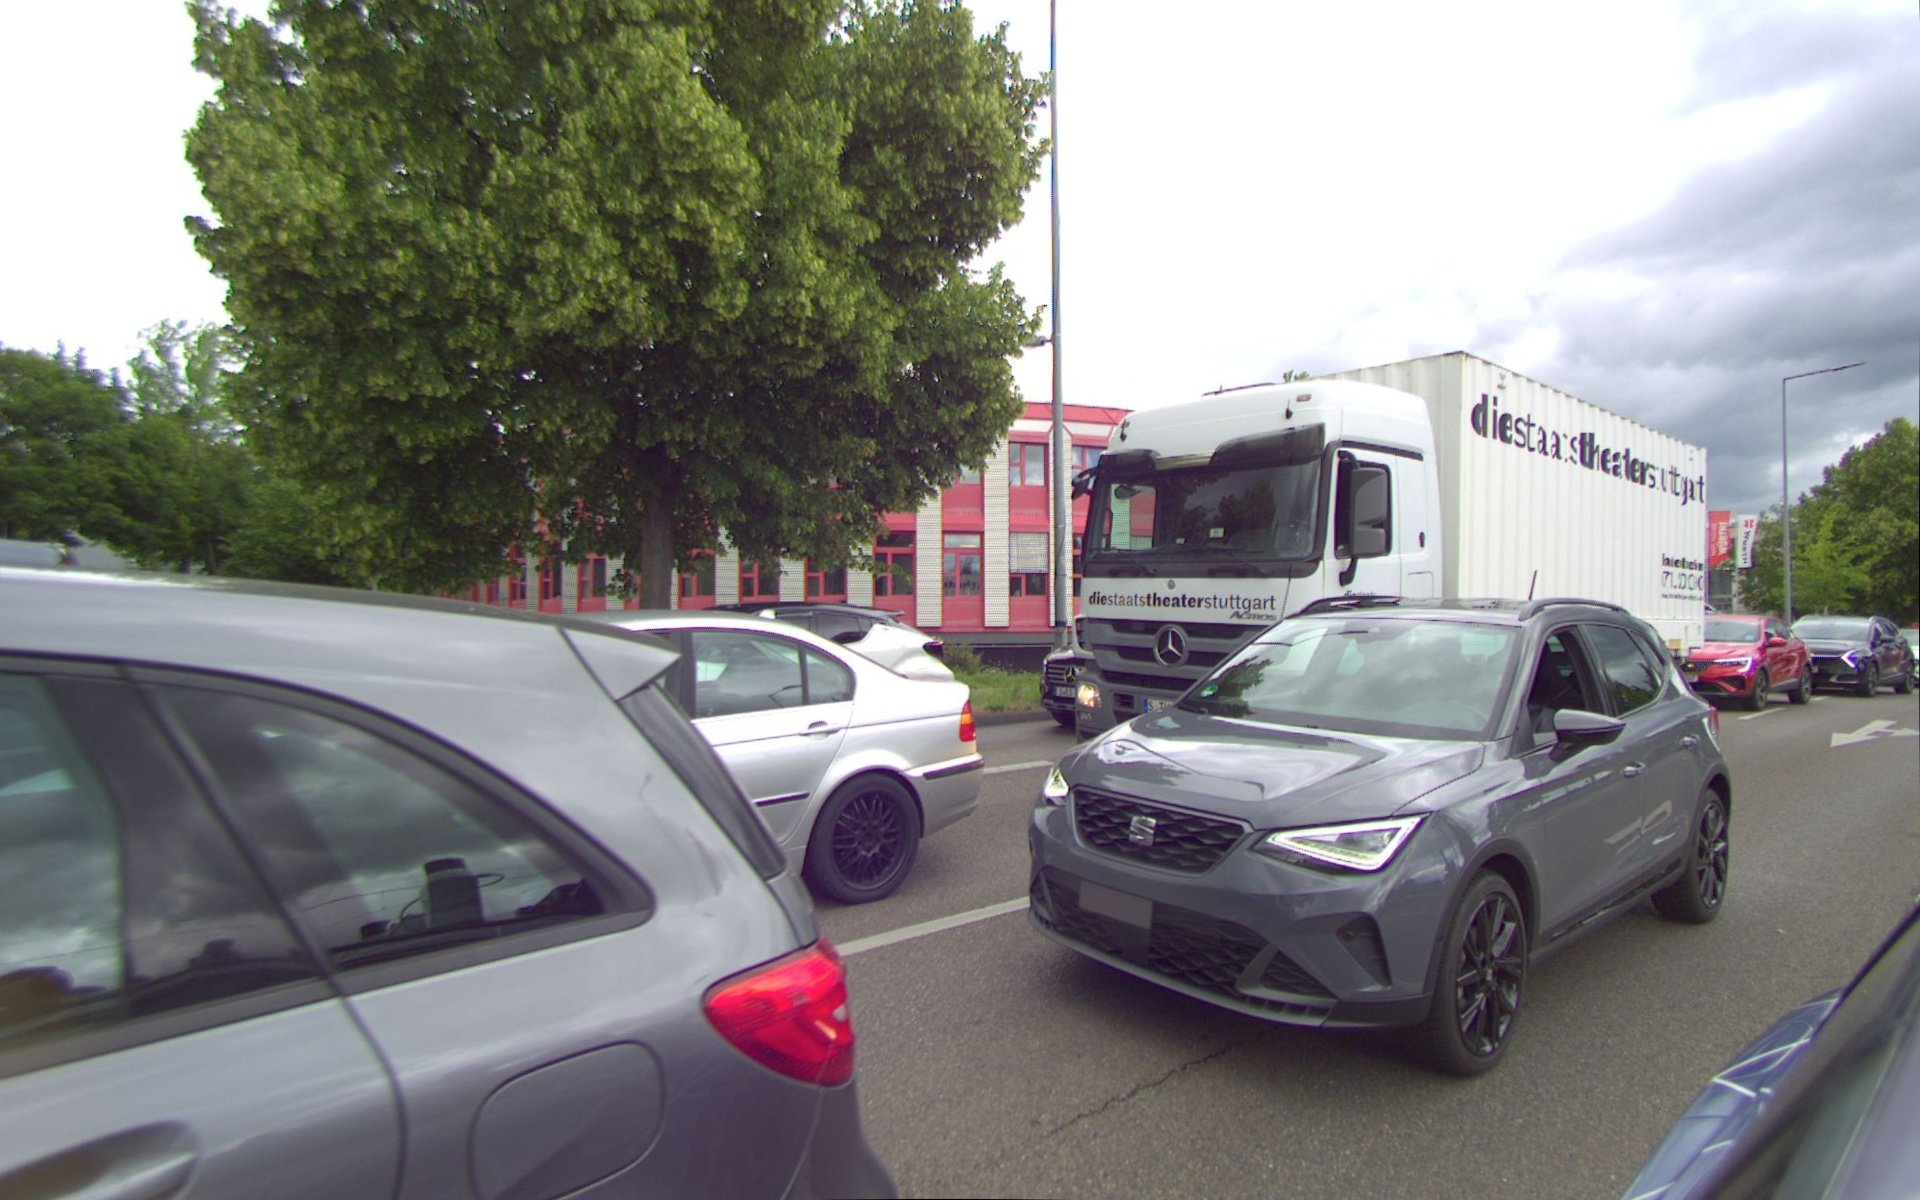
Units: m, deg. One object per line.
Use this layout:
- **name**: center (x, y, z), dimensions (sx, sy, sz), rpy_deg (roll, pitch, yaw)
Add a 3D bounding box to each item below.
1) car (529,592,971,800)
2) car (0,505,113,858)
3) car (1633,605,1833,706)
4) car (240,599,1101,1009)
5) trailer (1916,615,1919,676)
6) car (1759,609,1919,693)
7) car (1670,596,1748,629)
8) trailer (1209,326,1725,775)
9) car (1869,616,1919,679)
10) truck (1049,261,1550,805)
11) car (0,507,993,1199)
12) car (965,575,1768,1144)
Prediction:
- **car**: center (-1.786, 0.732, 9.210), dimensions (3.619, 1.516, 1.643), rpy_deg (1, -2, -41)
- **car**: center (-6.928, 0.398, 4.787), dimensions (4.425, 1.826, 1.829), rpy_deg (1, 0, -40)
- **car**: center (13.516, 0.891, 17.618), dimensions (4.239, 1.543, 1.712), rpy_deg (1, -1, -37)
- **car**: center (-1.322, 0.716, 5.413), dimensions (4.042, 1.371, 1.816), rpy_deg (1, 0, -38)
- **trailer**: center (27.458, 1.272, 27.643), dimensions (3.241, 1.614, 1.413), rpy_deg (2, -1, -36)
- **car**: center (18.838, 1.023, 21.390), dimensions (4.319, 1.581, 1.851), rpy_deg (1, -1, -34)
- **car**: center (48.899, 0.832, 66.128), dimensions (1.610, 1.984, 3.769), rpy_deg (4, -3, -31)
- **trailer**: center (6.336, -0.366, 11.899), dimensions (7.624, 3.753, 2.571), rpy_deg (1, -1, -40)
- **car**: center (24.419, 1.185, 25.323), dimensions (4.405, 1.466, 1.676), rpy_deg (2, 0, -37)
- **truck**: center (3.185, -0.440, 9.264), dimensions (4.032, 3.753, 2.576), rpy_deg (2, -1, -39)
- **car**: center (-2.124, 0.686, 0.677), dimensions (4.111, 1.542, 1.804), rpy_deg (0, 1, -39)
- **car**: center (2.078, 0.694, 4.593), dimensions (3.928, 1.505, 1.702), rpy_deg (1, 0, -39)
